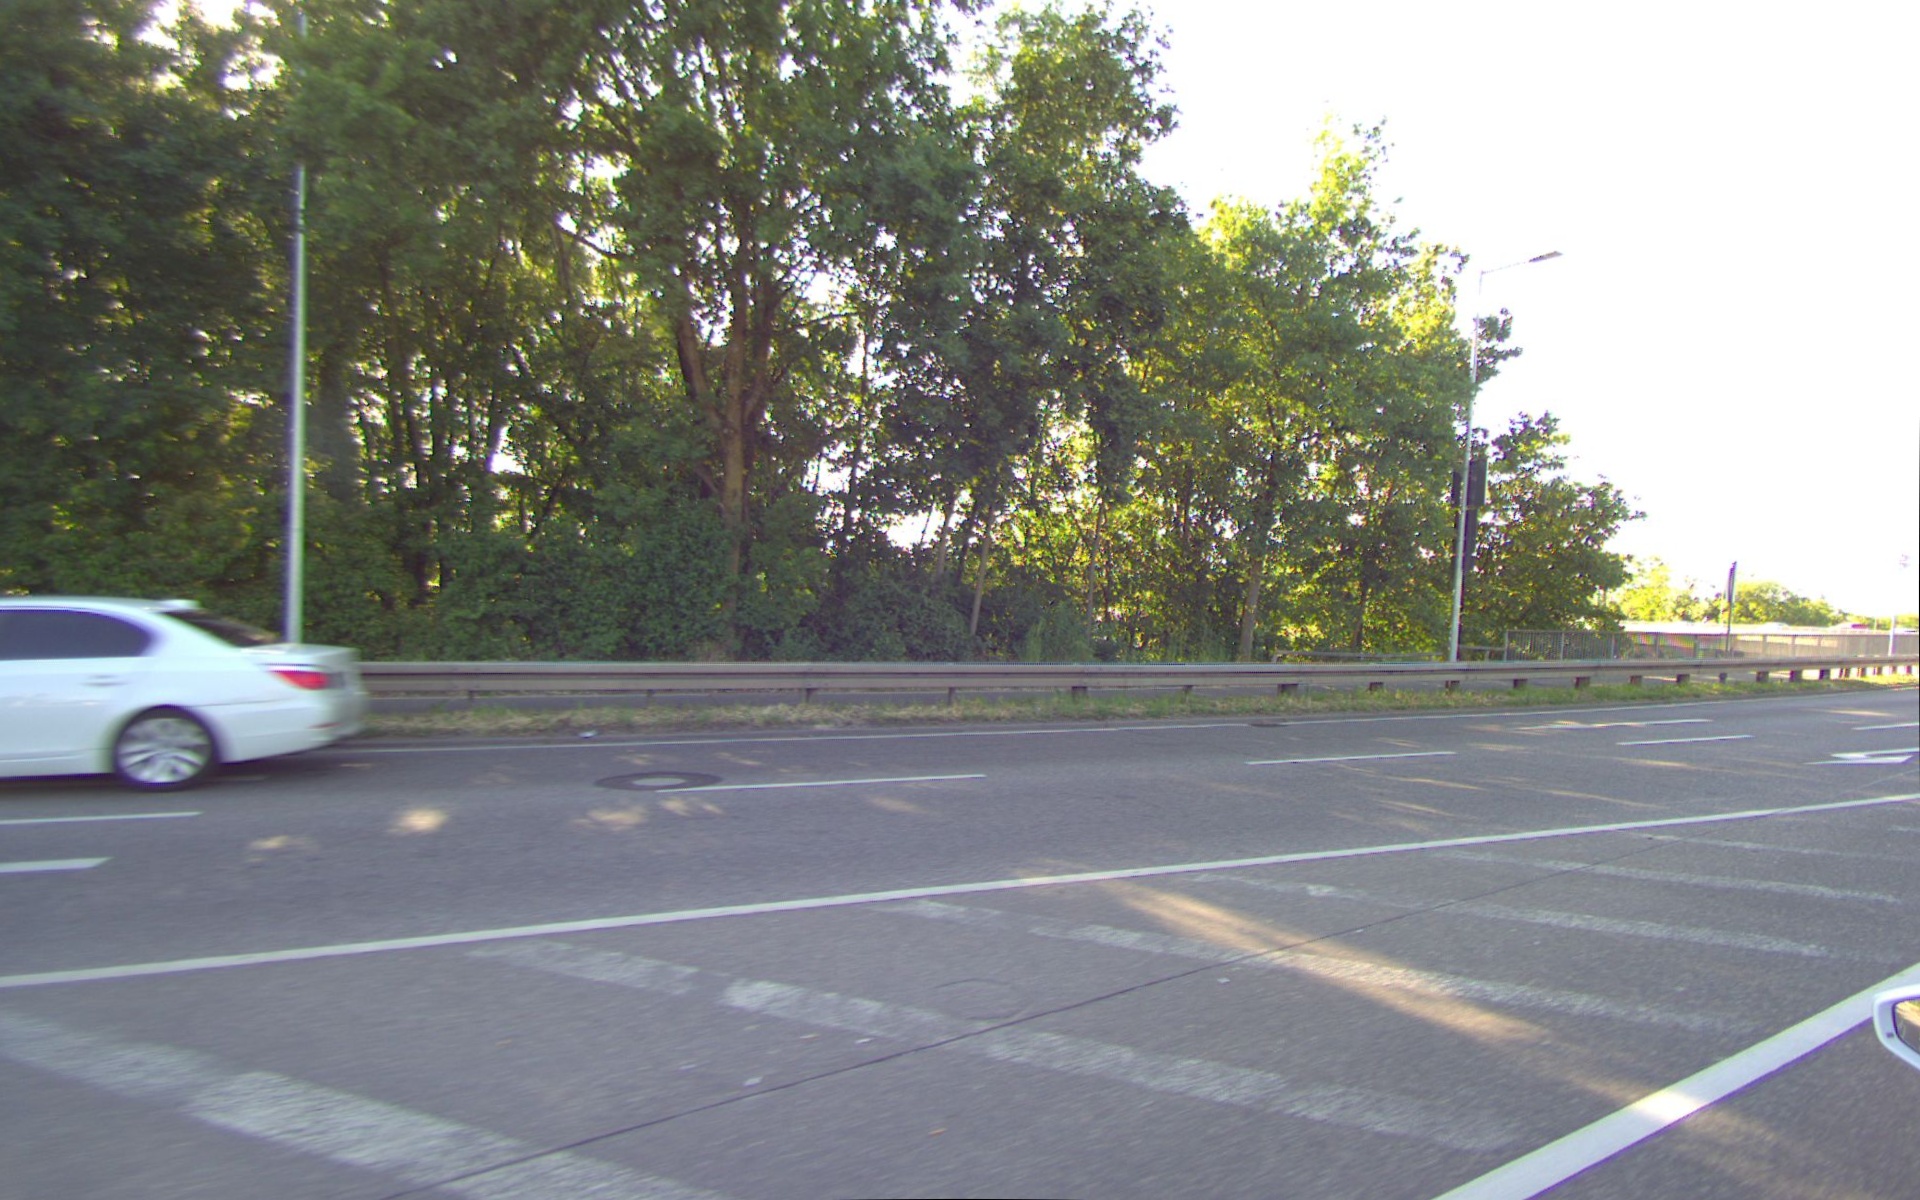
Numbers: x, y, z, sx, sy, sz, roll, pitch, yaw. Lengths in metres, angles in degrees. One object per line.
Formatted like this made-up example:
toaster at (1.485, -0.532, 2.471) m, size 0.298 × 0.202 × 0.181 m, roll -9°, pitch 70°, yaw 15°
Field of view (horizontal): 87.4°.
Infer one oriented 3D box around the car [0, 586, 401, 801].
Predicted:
car at (-7.215, 0.667, 7.982) m, size 4.559 × 1.507 × 1.844 m, roll 2°, pitch 0°, yaw -20°

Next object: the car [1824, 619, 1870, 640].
car at (90.196, 3.017, 102.181) m, size 1.923 × 1.976 × 4.001 m, roll 2°, pitch 0°, yaw 17°
